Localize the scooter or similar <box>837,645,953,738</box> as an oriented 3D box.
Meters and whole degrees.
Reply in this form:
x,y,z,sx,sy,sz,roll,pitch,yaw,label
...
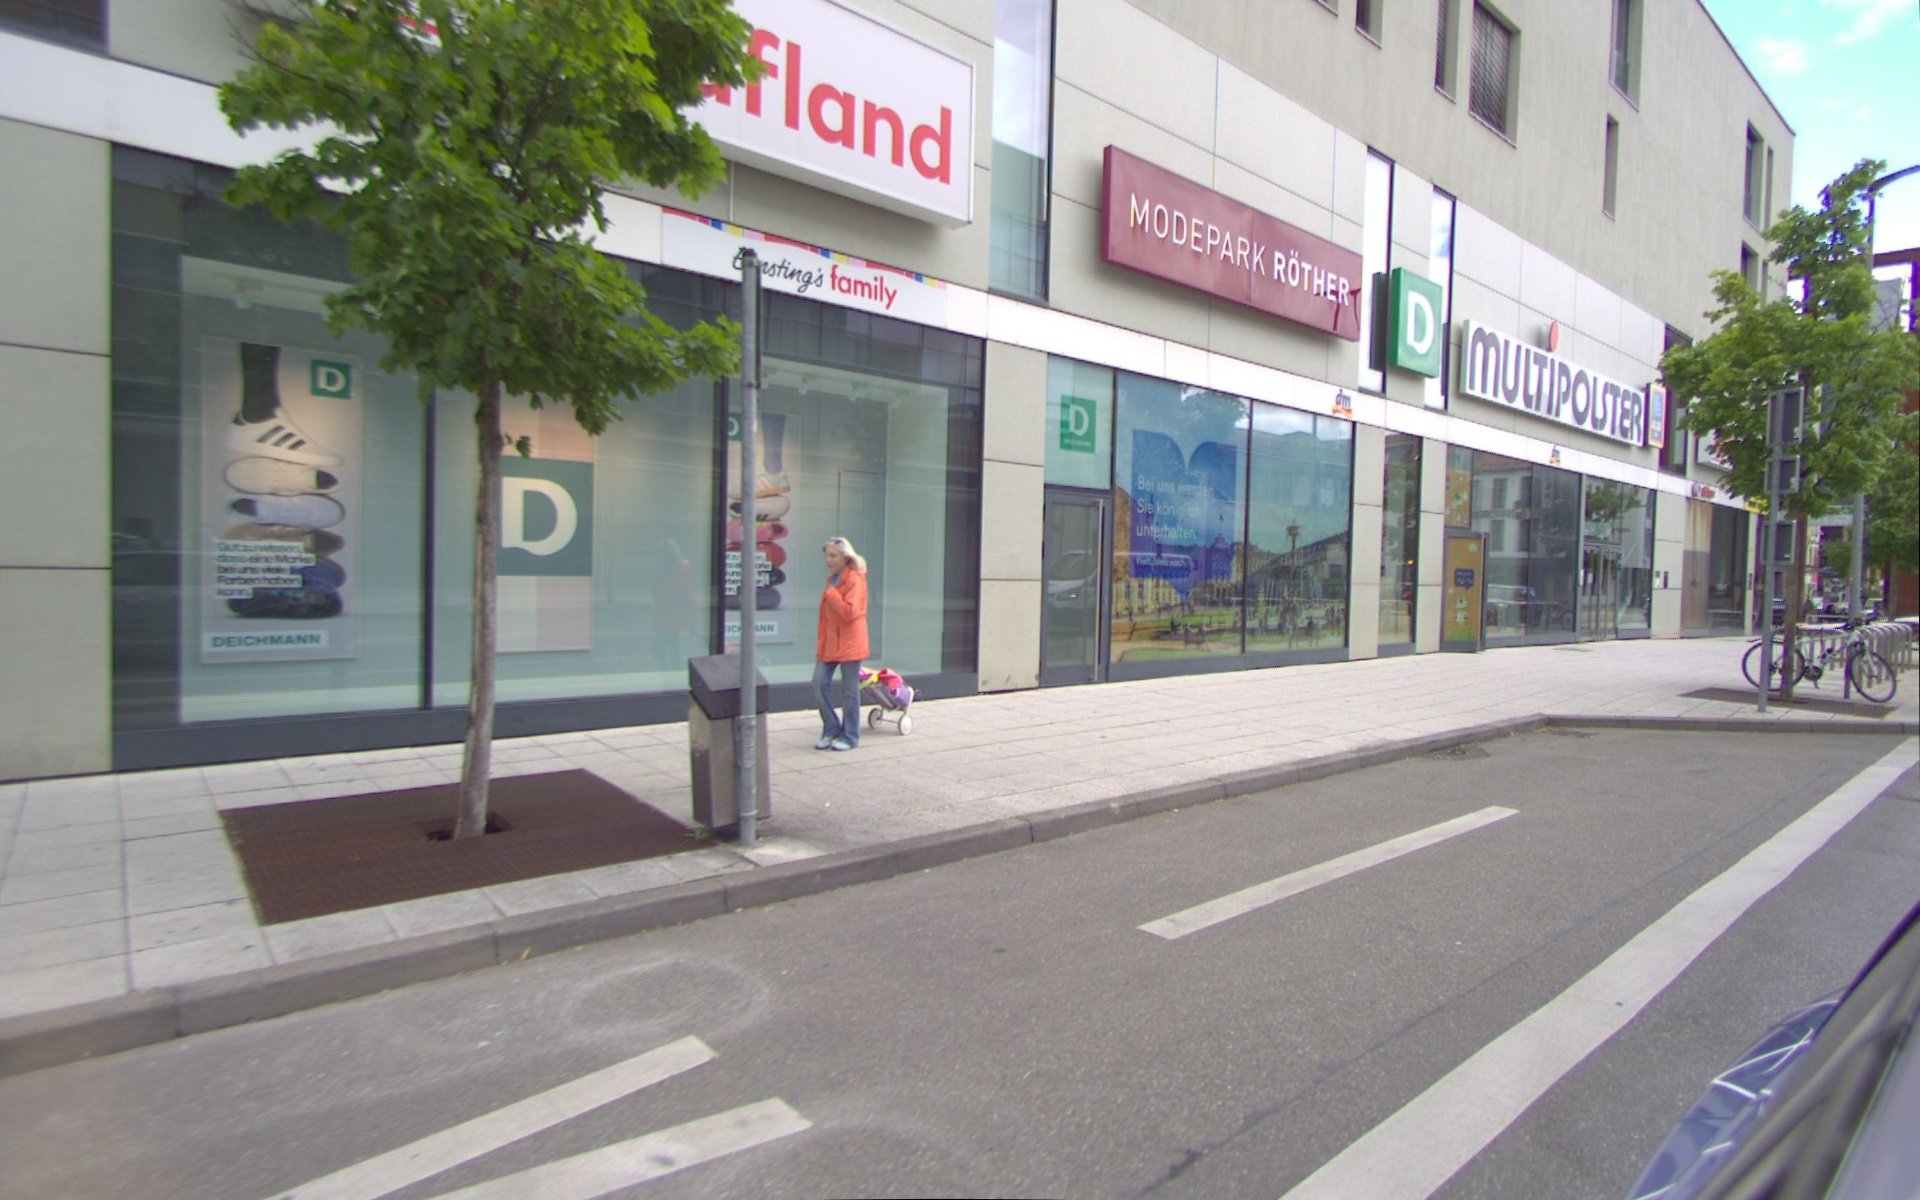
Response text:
x,y,z,sx,sy,sz,roll,pitch,yaw,label
-0.530,0.726,8.263,0.754,0.642,0.552,0,4,-41,scooter or similar

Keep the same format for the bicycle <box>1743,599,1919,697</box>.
x,y,z,sx,sy,sz,roll,pitch,yaw,label
11.713,0.606,13.630,1.740,1.113,0.553,6,4,43,bicycle

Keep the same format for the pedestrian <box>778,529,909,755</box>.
x,y,z,sx,sy,sz,roll,pitch,yaw,label
-0.872,0.282,7.560,0.719,1.586,0.590,0,3,-41,pedestrian

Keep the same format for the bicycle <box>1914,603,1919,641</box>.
x,y,z,sx,sy,sz,roll,pitch,yaw,label
26.450,0.639,26.742,1.740,1.034,0.445,4,3,44,bicycle
